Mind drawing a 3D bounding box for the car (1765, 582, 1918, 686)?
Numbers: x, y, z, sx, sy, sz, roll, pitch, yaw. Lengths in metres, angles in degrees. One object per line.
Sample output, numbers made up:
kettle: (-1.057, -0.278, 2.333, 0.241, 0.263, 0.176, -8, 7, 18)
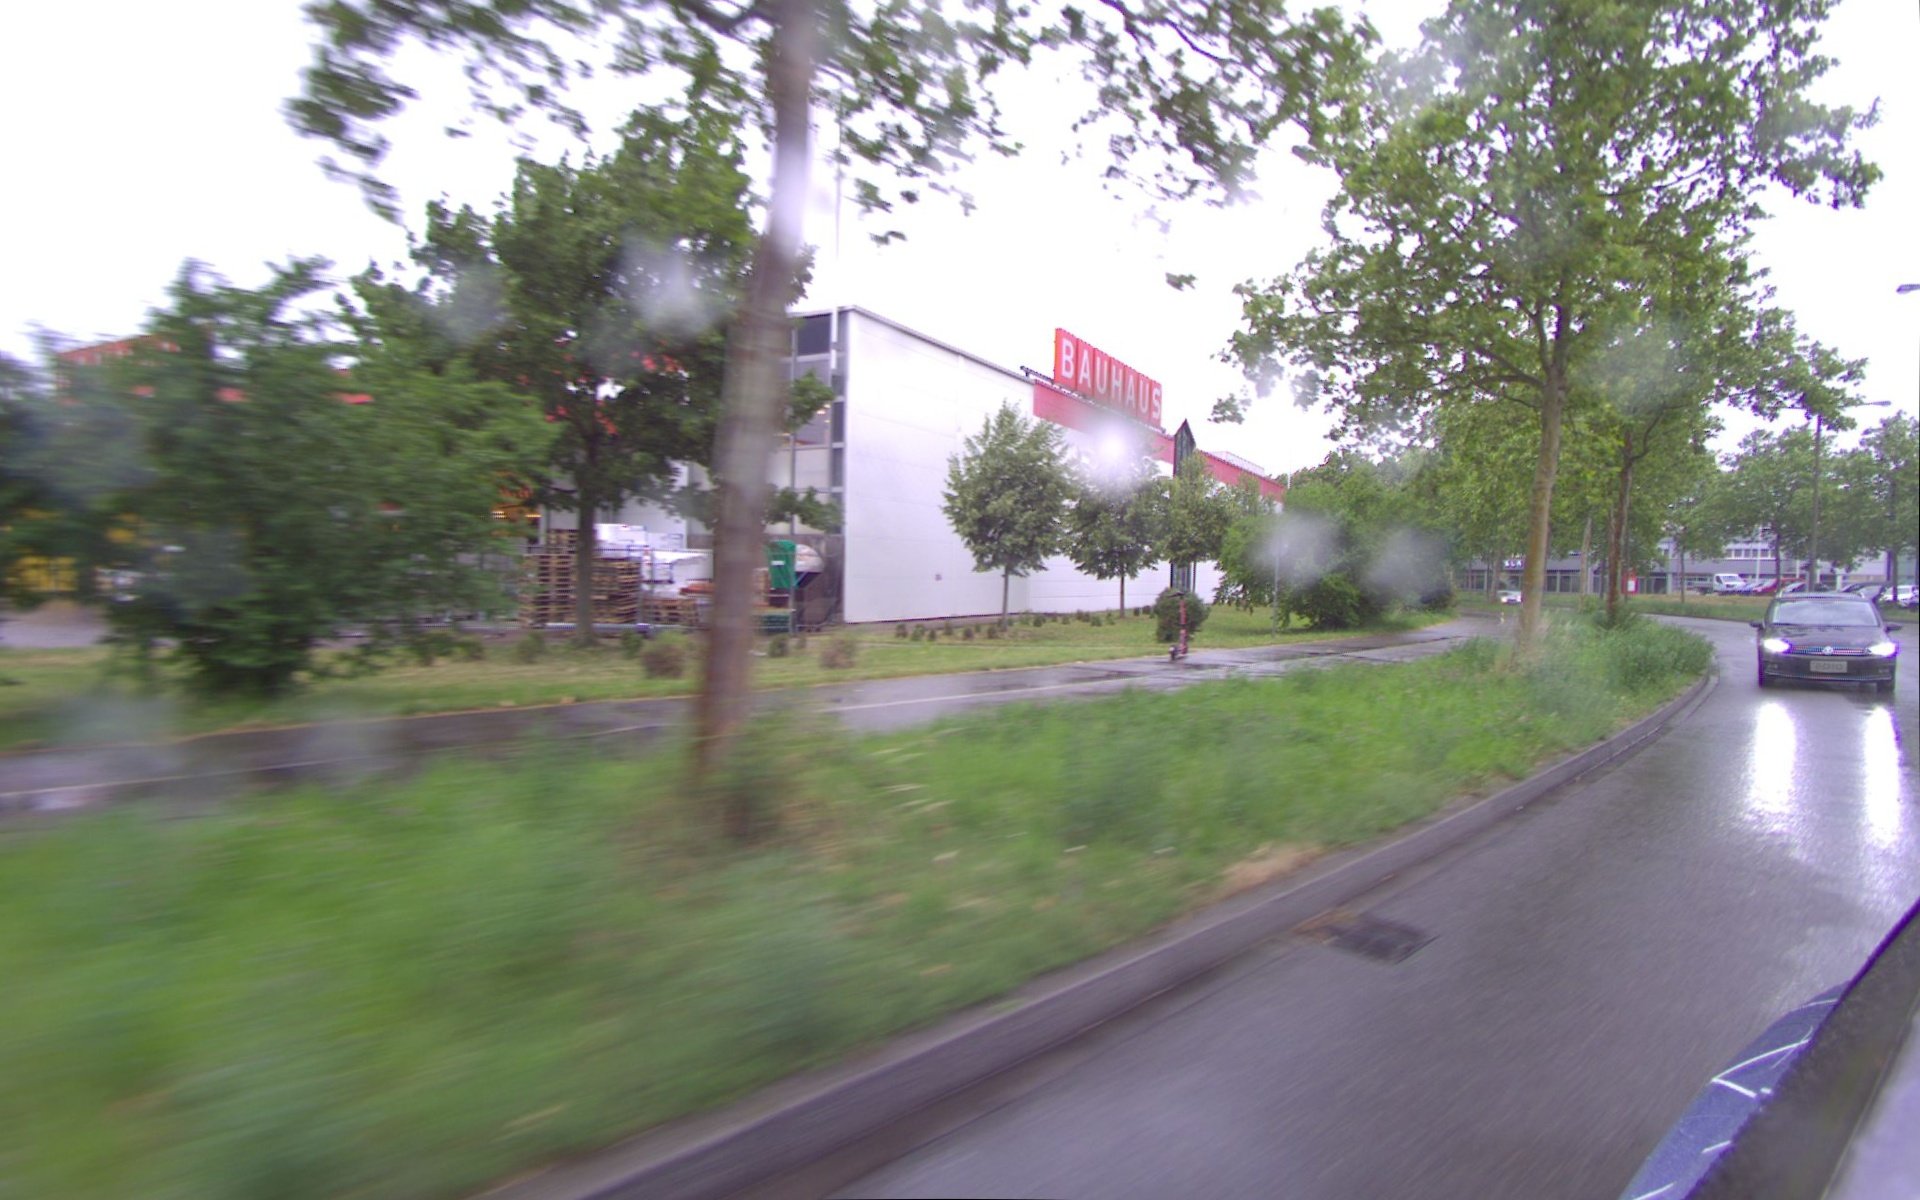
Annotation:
car: (15.726, 0.528, 18.264, 1.780, 1.635, 4.652, -1, 0, 38)

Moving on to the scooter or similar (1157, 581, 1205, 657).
scooter or similar: (3.978, 0.316, 18.136, 0.447, 1.290, 1.586, 1, 1, 27)

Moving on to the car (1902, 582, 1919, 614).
car: (51.861, -0.118, 52.465, 3.941, 1.681, 1.857, -1, 0, 14)

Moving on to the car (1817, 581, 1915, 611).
car: (54.216, -0.238, 60.639, 3.941, 1.681, 1.857, -1, 0, 14)

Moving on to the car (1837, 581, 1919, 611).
car: (53.811, -0.212, 58.739, 3.941, 1.681, 1.857, -1, 0, 14)

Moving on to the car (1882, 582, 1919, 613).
car: (52.712, -0.152, 54.564, 3.941, 1.681, 1.857, -1, 0, 14)

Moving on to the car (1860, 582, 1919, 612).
car: (53.412, -0.185, 56.727, 3.941, 1.681, 1.857, -1, 0, 14)

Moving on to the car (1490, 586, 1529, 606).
car: (48.720, -0.357, 89.771, 1.970, 1.671, 3.985, 1, 1, 13)
